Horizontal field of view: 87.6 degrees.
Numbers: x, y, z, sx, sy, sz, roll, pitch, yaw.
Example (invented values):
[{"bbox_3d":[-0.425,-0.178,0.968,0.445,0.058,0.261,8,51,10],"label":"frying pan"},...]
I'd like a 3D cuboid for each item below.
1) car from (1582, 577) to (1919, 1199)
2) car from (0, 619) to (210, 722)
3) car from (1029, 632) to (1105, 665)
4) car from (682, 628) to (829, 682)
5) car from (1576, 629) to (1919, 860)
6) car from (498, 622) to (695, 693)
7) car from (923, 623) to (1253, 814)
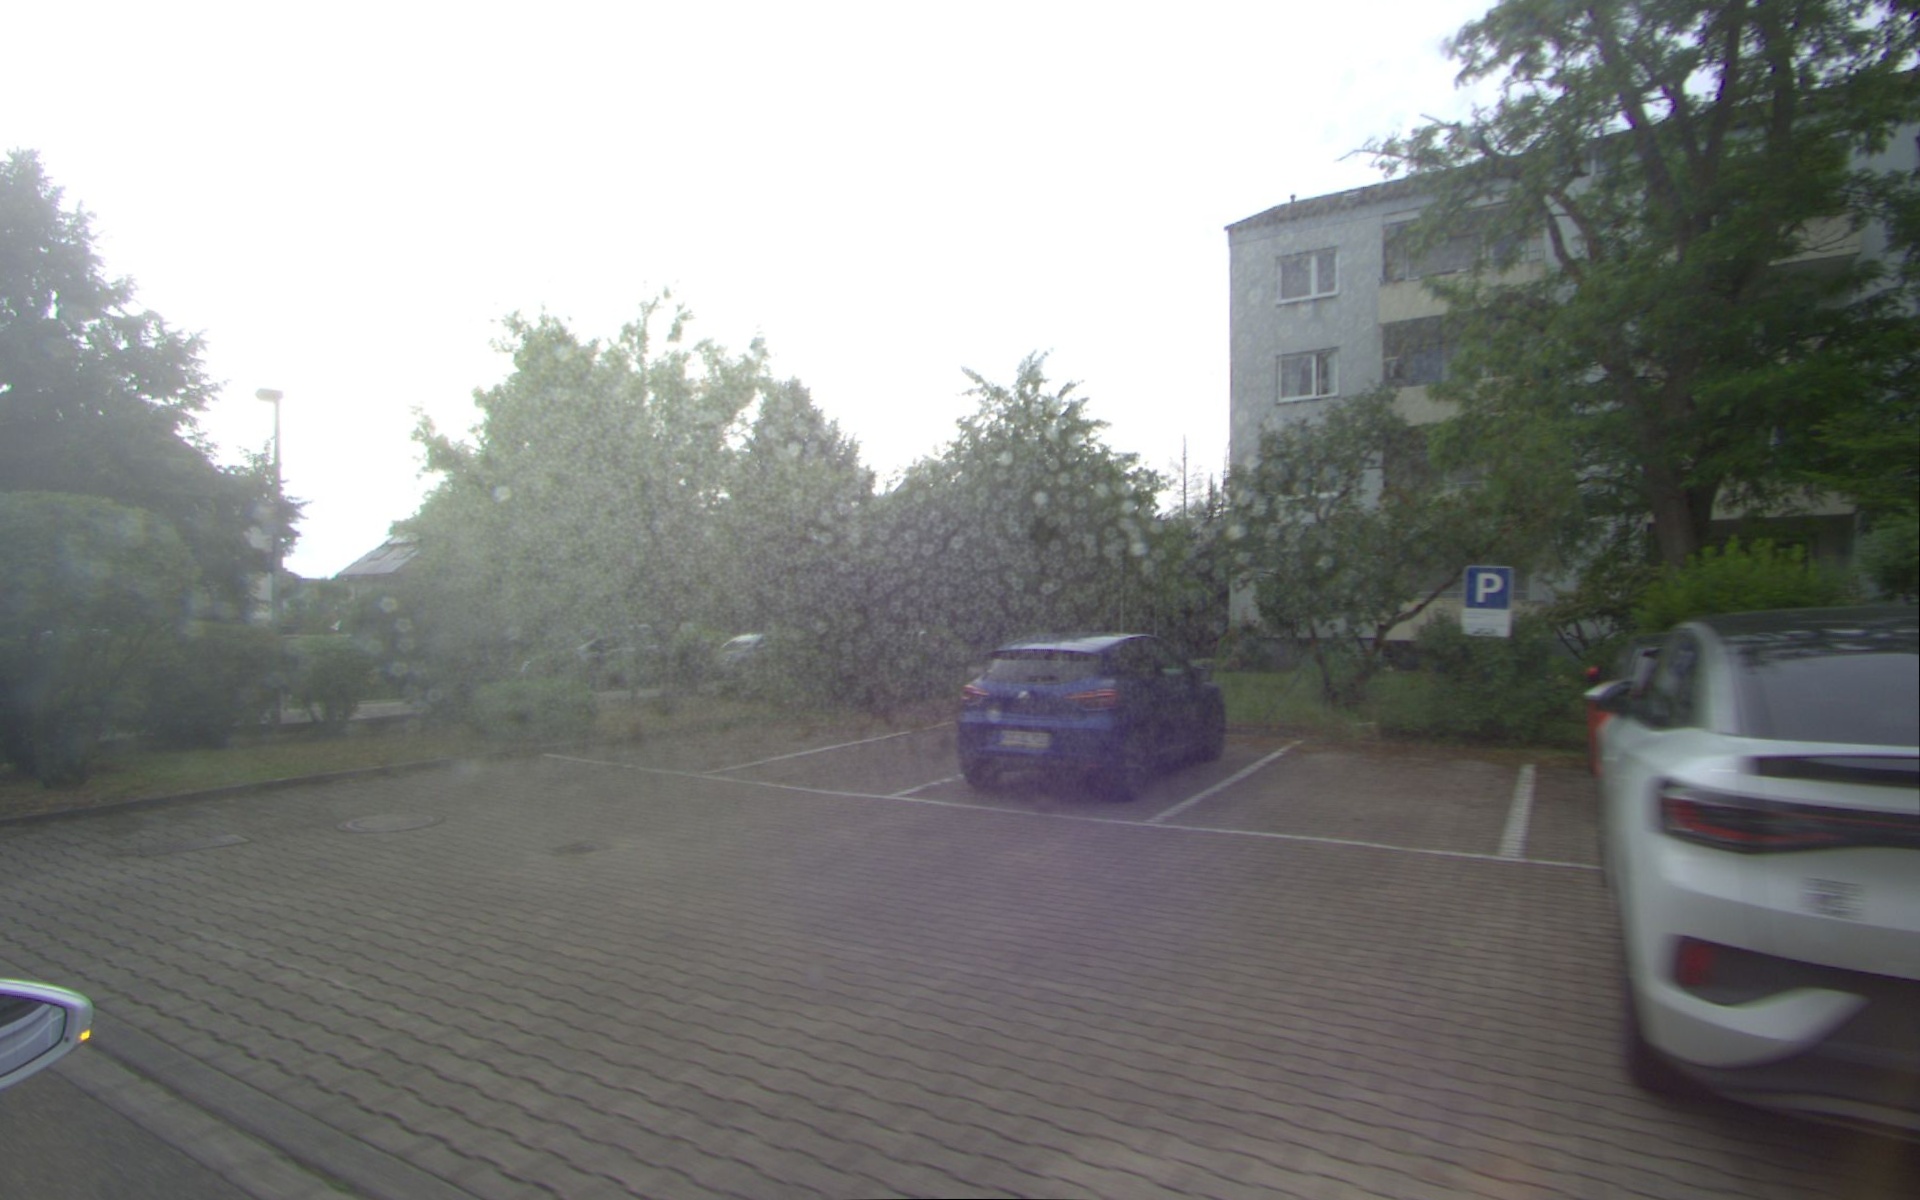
[{"bbox_3d":[3.666,0.801,3.989,1.960,1.609,4.528,0,-1,33],"label":"car"},{"bbox_3d":[-14.895,1.124,16.160,1.725,1.550,4.170,-3,-3,35],"label":"car"},{"bbox_3d":[4.938,2.199,45.919,1.734,1.443,3.977,-3,-3,35],"label":"car"},{"bbox_3d":[-6.032,1.617,29.968,1.741,1.497,4.279,-3,-3,36],"label":"car"},{"bbox_3d":[6.277,0.956,8.291,1.942,1.398,3.892,0,-1,31],"label":"car"},{"bbox_3d":[-9.021,1.419,25.235,1.739,1.613,4.528,-3,-3,33],"label":"car"},{"bbox_3d":[1.511,1.017,10.307,1.998,1.530,3.892,0,-1,31],"label":"car"}]
